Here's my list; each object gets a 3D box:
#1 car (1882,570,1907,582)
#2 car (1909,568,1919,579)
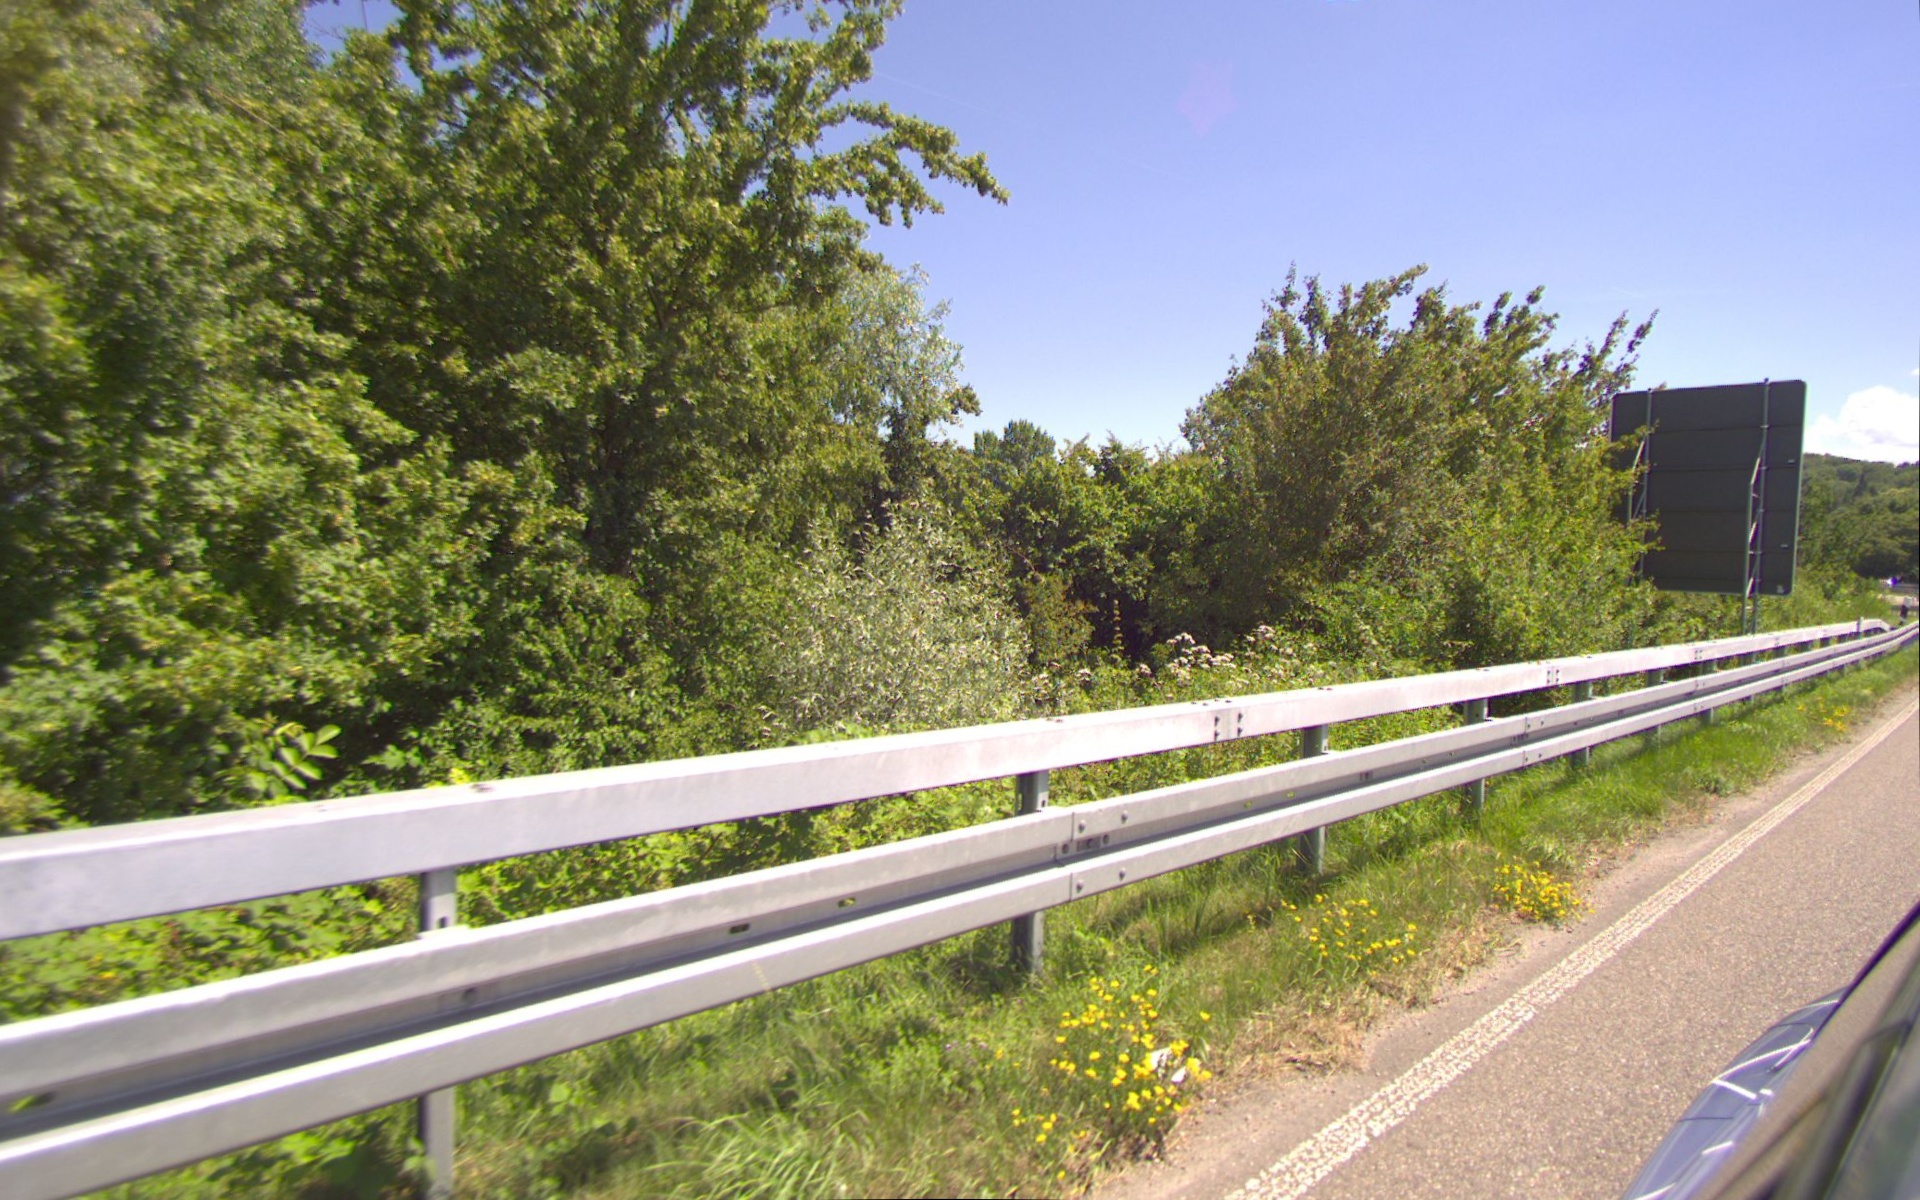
[{"bbox_3d":[168.079,-4.357,182.042,1.981,1.916,4.866,1,3,28],"label":"car"},{"bbox_3d":[173.612,-4.779,183.177,1.987,1.916,4.854,2,3,34],"label":"car"}]
